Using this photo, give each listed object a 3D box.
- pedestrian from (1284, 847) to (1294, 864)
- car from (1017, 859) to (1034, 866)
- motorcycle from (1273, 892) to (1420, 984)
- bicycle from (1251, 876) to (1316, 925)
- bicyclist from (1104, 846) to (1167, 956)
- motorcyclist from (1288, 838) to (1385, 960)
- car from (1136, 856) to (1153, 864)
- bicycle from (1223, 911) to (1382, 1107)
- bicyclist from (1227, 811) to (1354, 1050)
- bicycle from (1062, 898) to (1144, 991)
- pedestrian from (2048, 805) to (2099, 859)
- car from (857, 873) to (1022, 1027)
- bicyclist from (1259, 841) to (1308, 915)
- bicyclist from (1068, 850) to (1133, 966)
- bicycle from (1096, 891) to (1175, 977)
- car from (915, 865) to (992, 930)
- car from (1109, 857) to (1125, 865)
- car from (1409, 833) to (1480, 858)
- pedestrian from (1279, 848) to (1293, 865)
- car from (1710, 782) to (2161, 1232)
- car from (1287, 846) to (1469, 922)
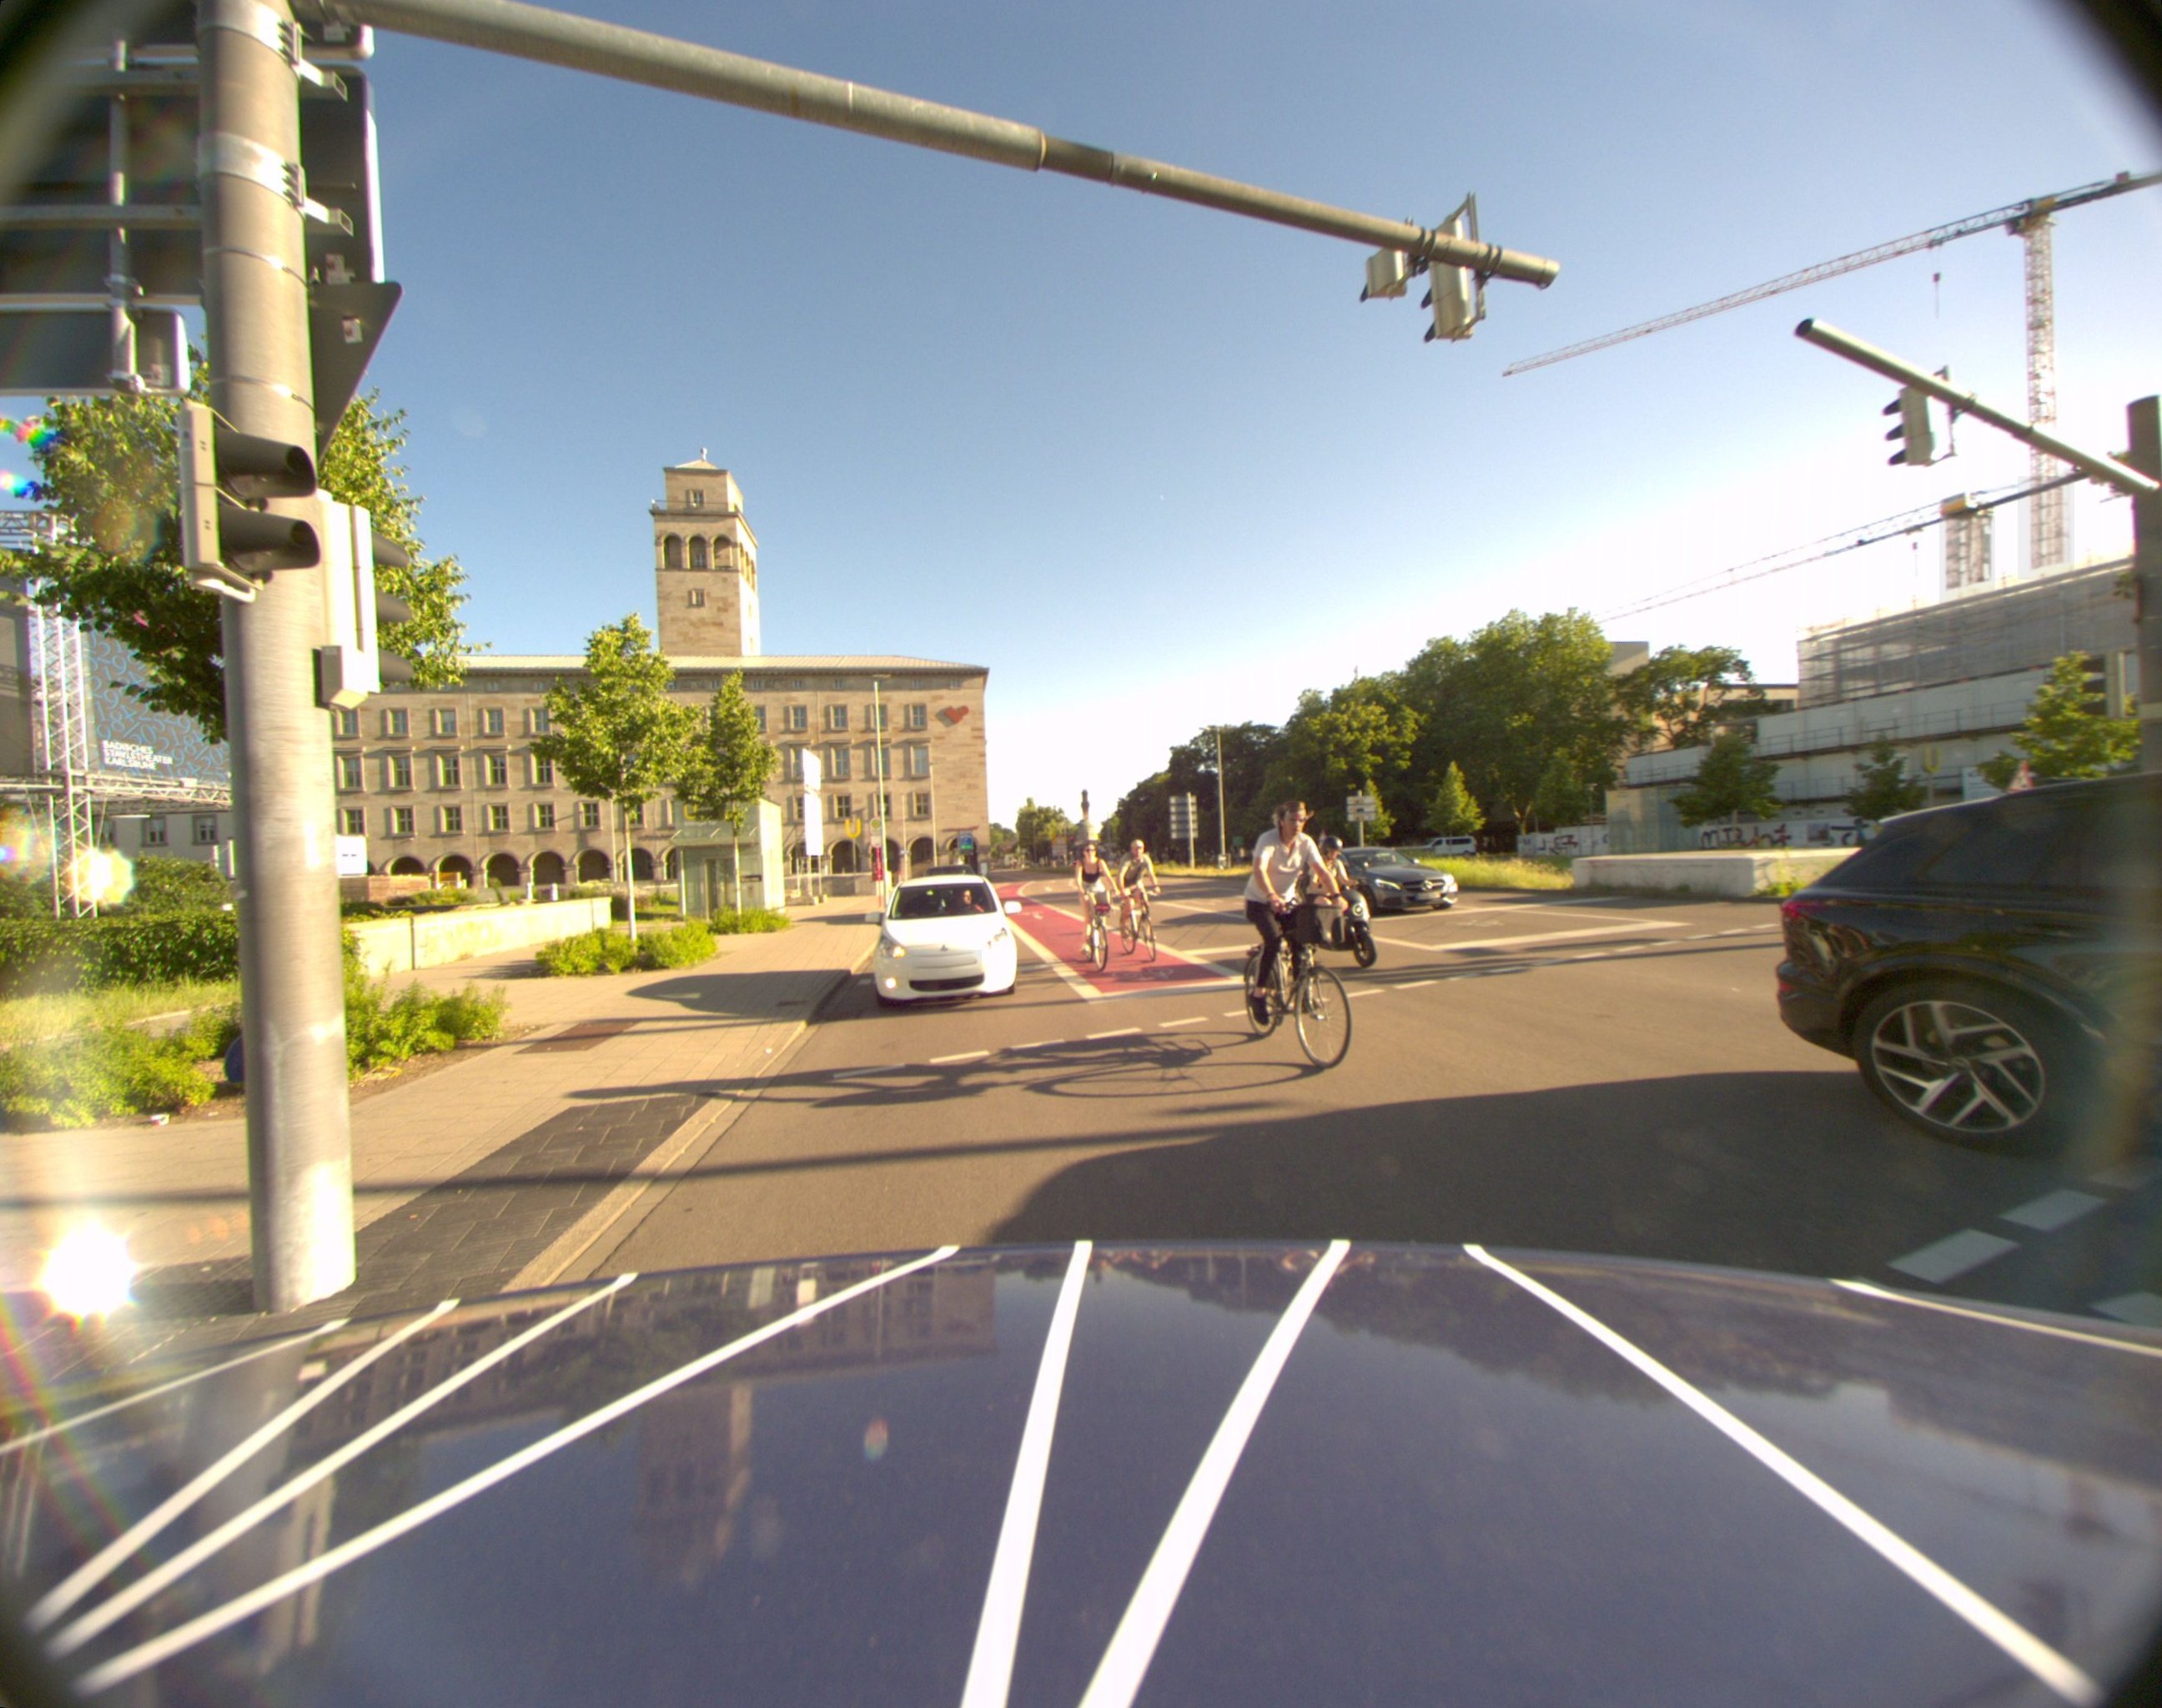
[{"bbox_3d":[20.694,0.143,75.736,0.665,1.716,0.697,-3,0,-8],"label":"pedestrian"},{"bbox_3d":[-12.706,1.982,174.663,3.770,1.443,1.618,-4,0,-7],"label":"car"},{"bbox_3d":[3.372,1.031,9.884,0.758,0.963,1.957,-4,0,-16],"label":"motorcycle"},{"bbox_3d":[4.313,0.975,16.312,0.624,0.903,1.909,-4,0,-7],"label":"bicycle"},{"bbox_3d":[0.814,0.689,11.554,0.626,1.566,0.894,-3,0,-14],"label":"bicyclist"},{"bbox_3d":[3.326,0.559,9.934,0.758,1.475,0.880,-4,1,-16],"label":"motorcyclist"},{"bbox_3d":[9.294,0.887,111.182,1.619,1.126,3.768,-4,0,-10],"label":"car"},{"bbox_3d":[1.580,1.061,5.742,0.708,1.087,1.801,-3,0,3],"label":"bicycle"},{"bbox_3d":[1.546,0.542,5.736,0.701,1.659,0.786,-3,0,3],"label":"bicyclist"},{"bbox_3d":[0.269,1.221,10.728,0.652,1.087,1.798,-3,0,-14],"label":"bicycle"},{"bbox_3d":[32.295,-0.707,24.731,0.840,1.670,0.654,-3,0,-8],"label":"pedestrian"},{"bbox_3d":[-1.807,1.090,10.268,1.661,1.463,3.966,-5,0,-8],"label":"car"},{"bbox_3d":[4.299,0.494,16.190,0.624,1.494,0.937,-4,1,-7],"label":"bicyclist"},{"bbox_3d":[0.258,0.736,10.697,0.652,1.534,0.846,-3,0,-14],"label":"bicyclist"},{"bbox_3d":[0.792,1.179,11.708,0.626,1.110,1.814,-3,0,-14],"label":"bicycle"},{"bbox_3d":[-3.892,1.226,23.283,2.000,1.652,4.788,-3,0,-9],"label":"car"},{"bbox_3d":[5.484,1.122,115.684,1.619,1.126,3.768,-4,0,-10],"label":"car"},{"bbox_3d":[32.272,-0.758,67.501,5.329,1.880,1.999,-3,-1,-7],"label":"car"},{"bbox_3d":[21.475,0.253,79.519,0.997,1.773,0.963,-4,1,-8],"label":"pedestrian"},{"bbox_3d":[5.176,0.505,2.209,2.201,1.652,4.787,-3,0,-12],"label":"car"},{"bbox_3d":[6.370,0.579,16.951,1.776,1.344,4.523,-4,0,-7],"label":"car"}]
